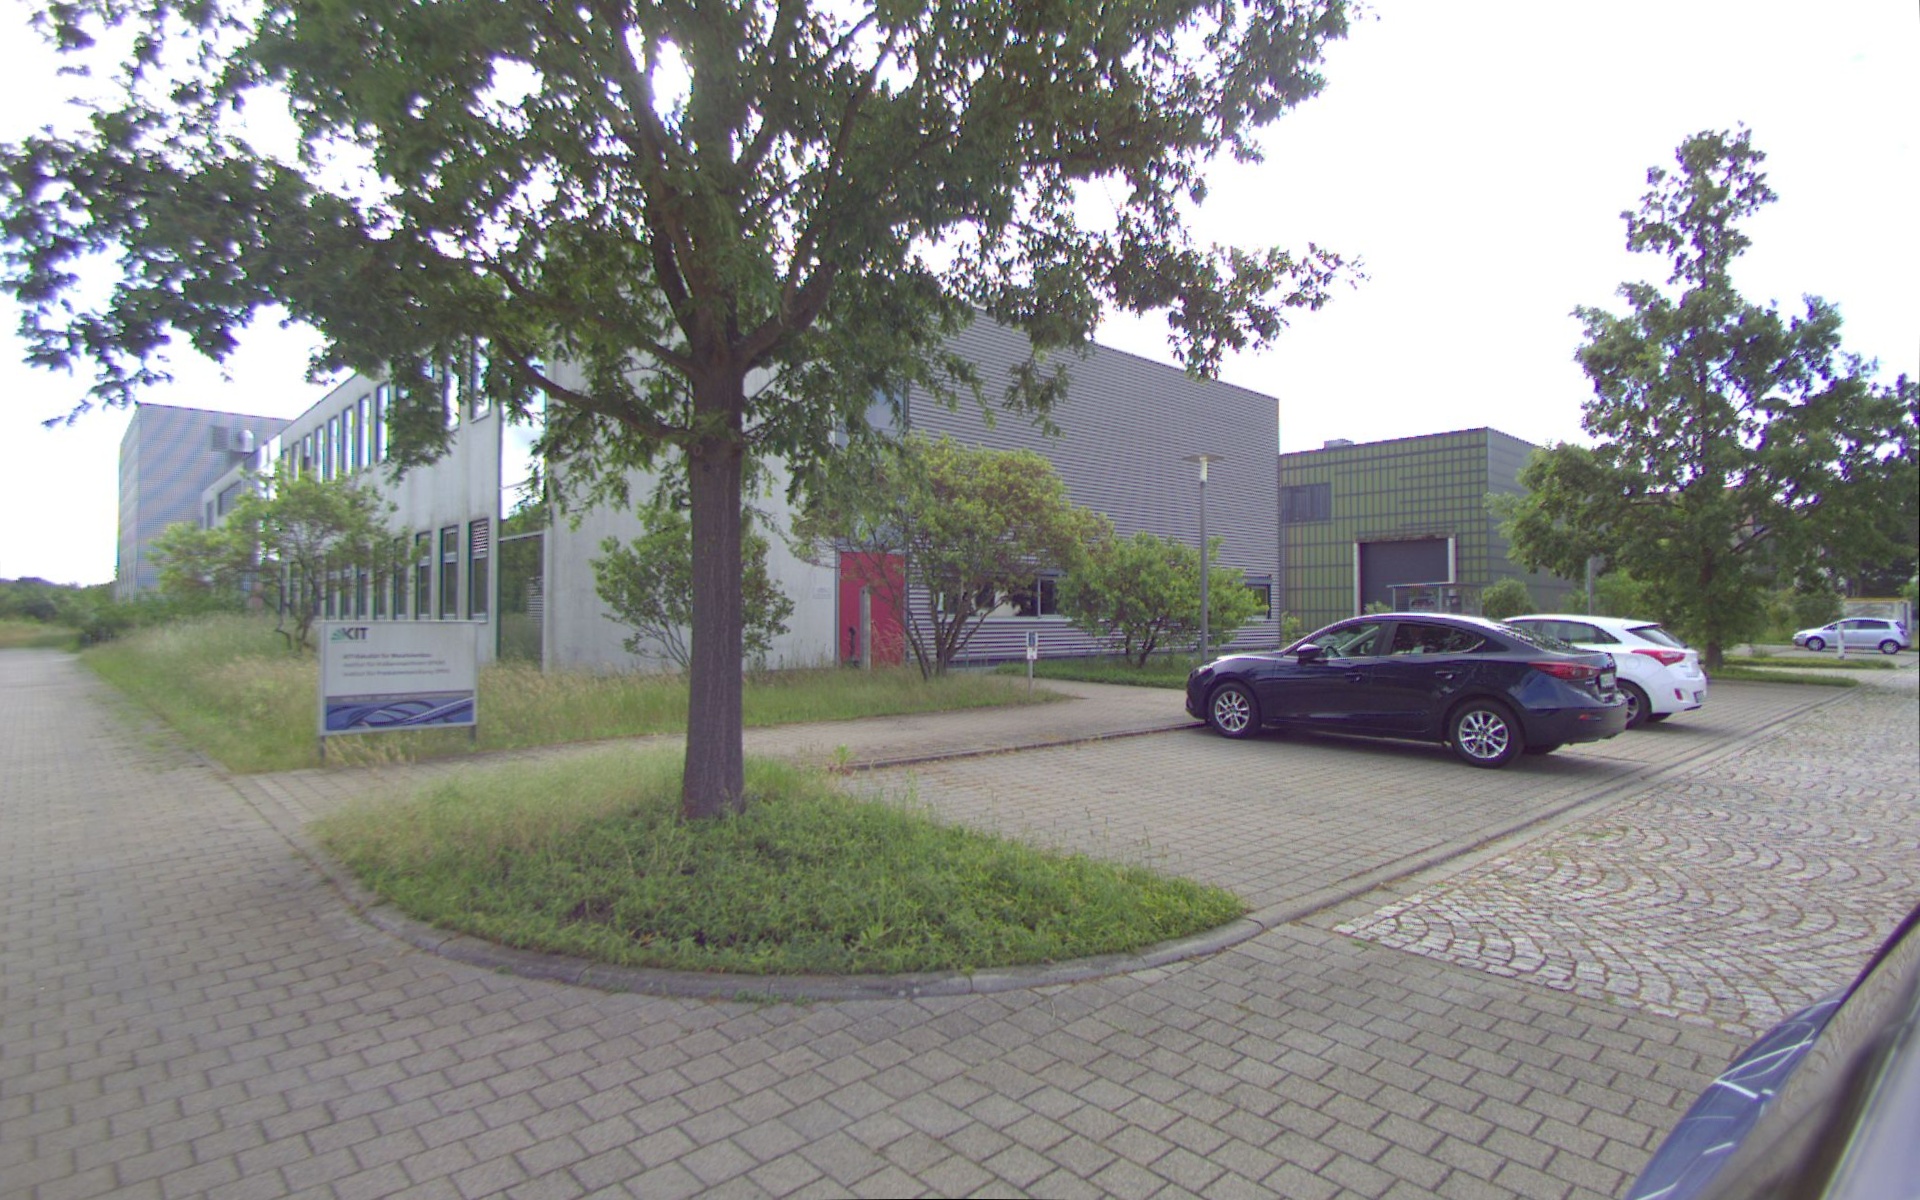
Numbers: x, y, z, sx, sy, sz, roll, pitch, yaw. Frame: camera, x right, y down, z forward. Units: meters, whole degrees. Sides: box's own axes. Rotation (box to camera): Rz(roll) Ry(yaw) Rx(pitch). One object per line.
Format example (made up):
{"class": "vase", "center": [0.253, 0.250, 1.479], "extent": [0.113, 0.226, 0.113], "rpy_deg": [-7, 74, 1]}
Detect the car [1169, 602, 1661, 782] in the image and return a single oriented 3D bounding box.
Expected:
{"class": "car", "center": [4.681, 0.800, 10.932], "extent": [1.911, 1.465, 4.468], "rpy_deg": [2, 0, -43]}

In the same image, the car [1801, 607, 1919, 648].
{"class": "car", "center": [41.124, 1.220, 46.124], "extent": [4.123, 1.645, 1.908], "rpy_deg": [2, 1, 45]}

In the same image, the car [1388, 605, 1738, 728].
{"class": "car", "center": [8.502, 0.840, 14.507], "extent": [1.851, 1.485, 3.979], "rpy_deg": [2, -1, -43]}
